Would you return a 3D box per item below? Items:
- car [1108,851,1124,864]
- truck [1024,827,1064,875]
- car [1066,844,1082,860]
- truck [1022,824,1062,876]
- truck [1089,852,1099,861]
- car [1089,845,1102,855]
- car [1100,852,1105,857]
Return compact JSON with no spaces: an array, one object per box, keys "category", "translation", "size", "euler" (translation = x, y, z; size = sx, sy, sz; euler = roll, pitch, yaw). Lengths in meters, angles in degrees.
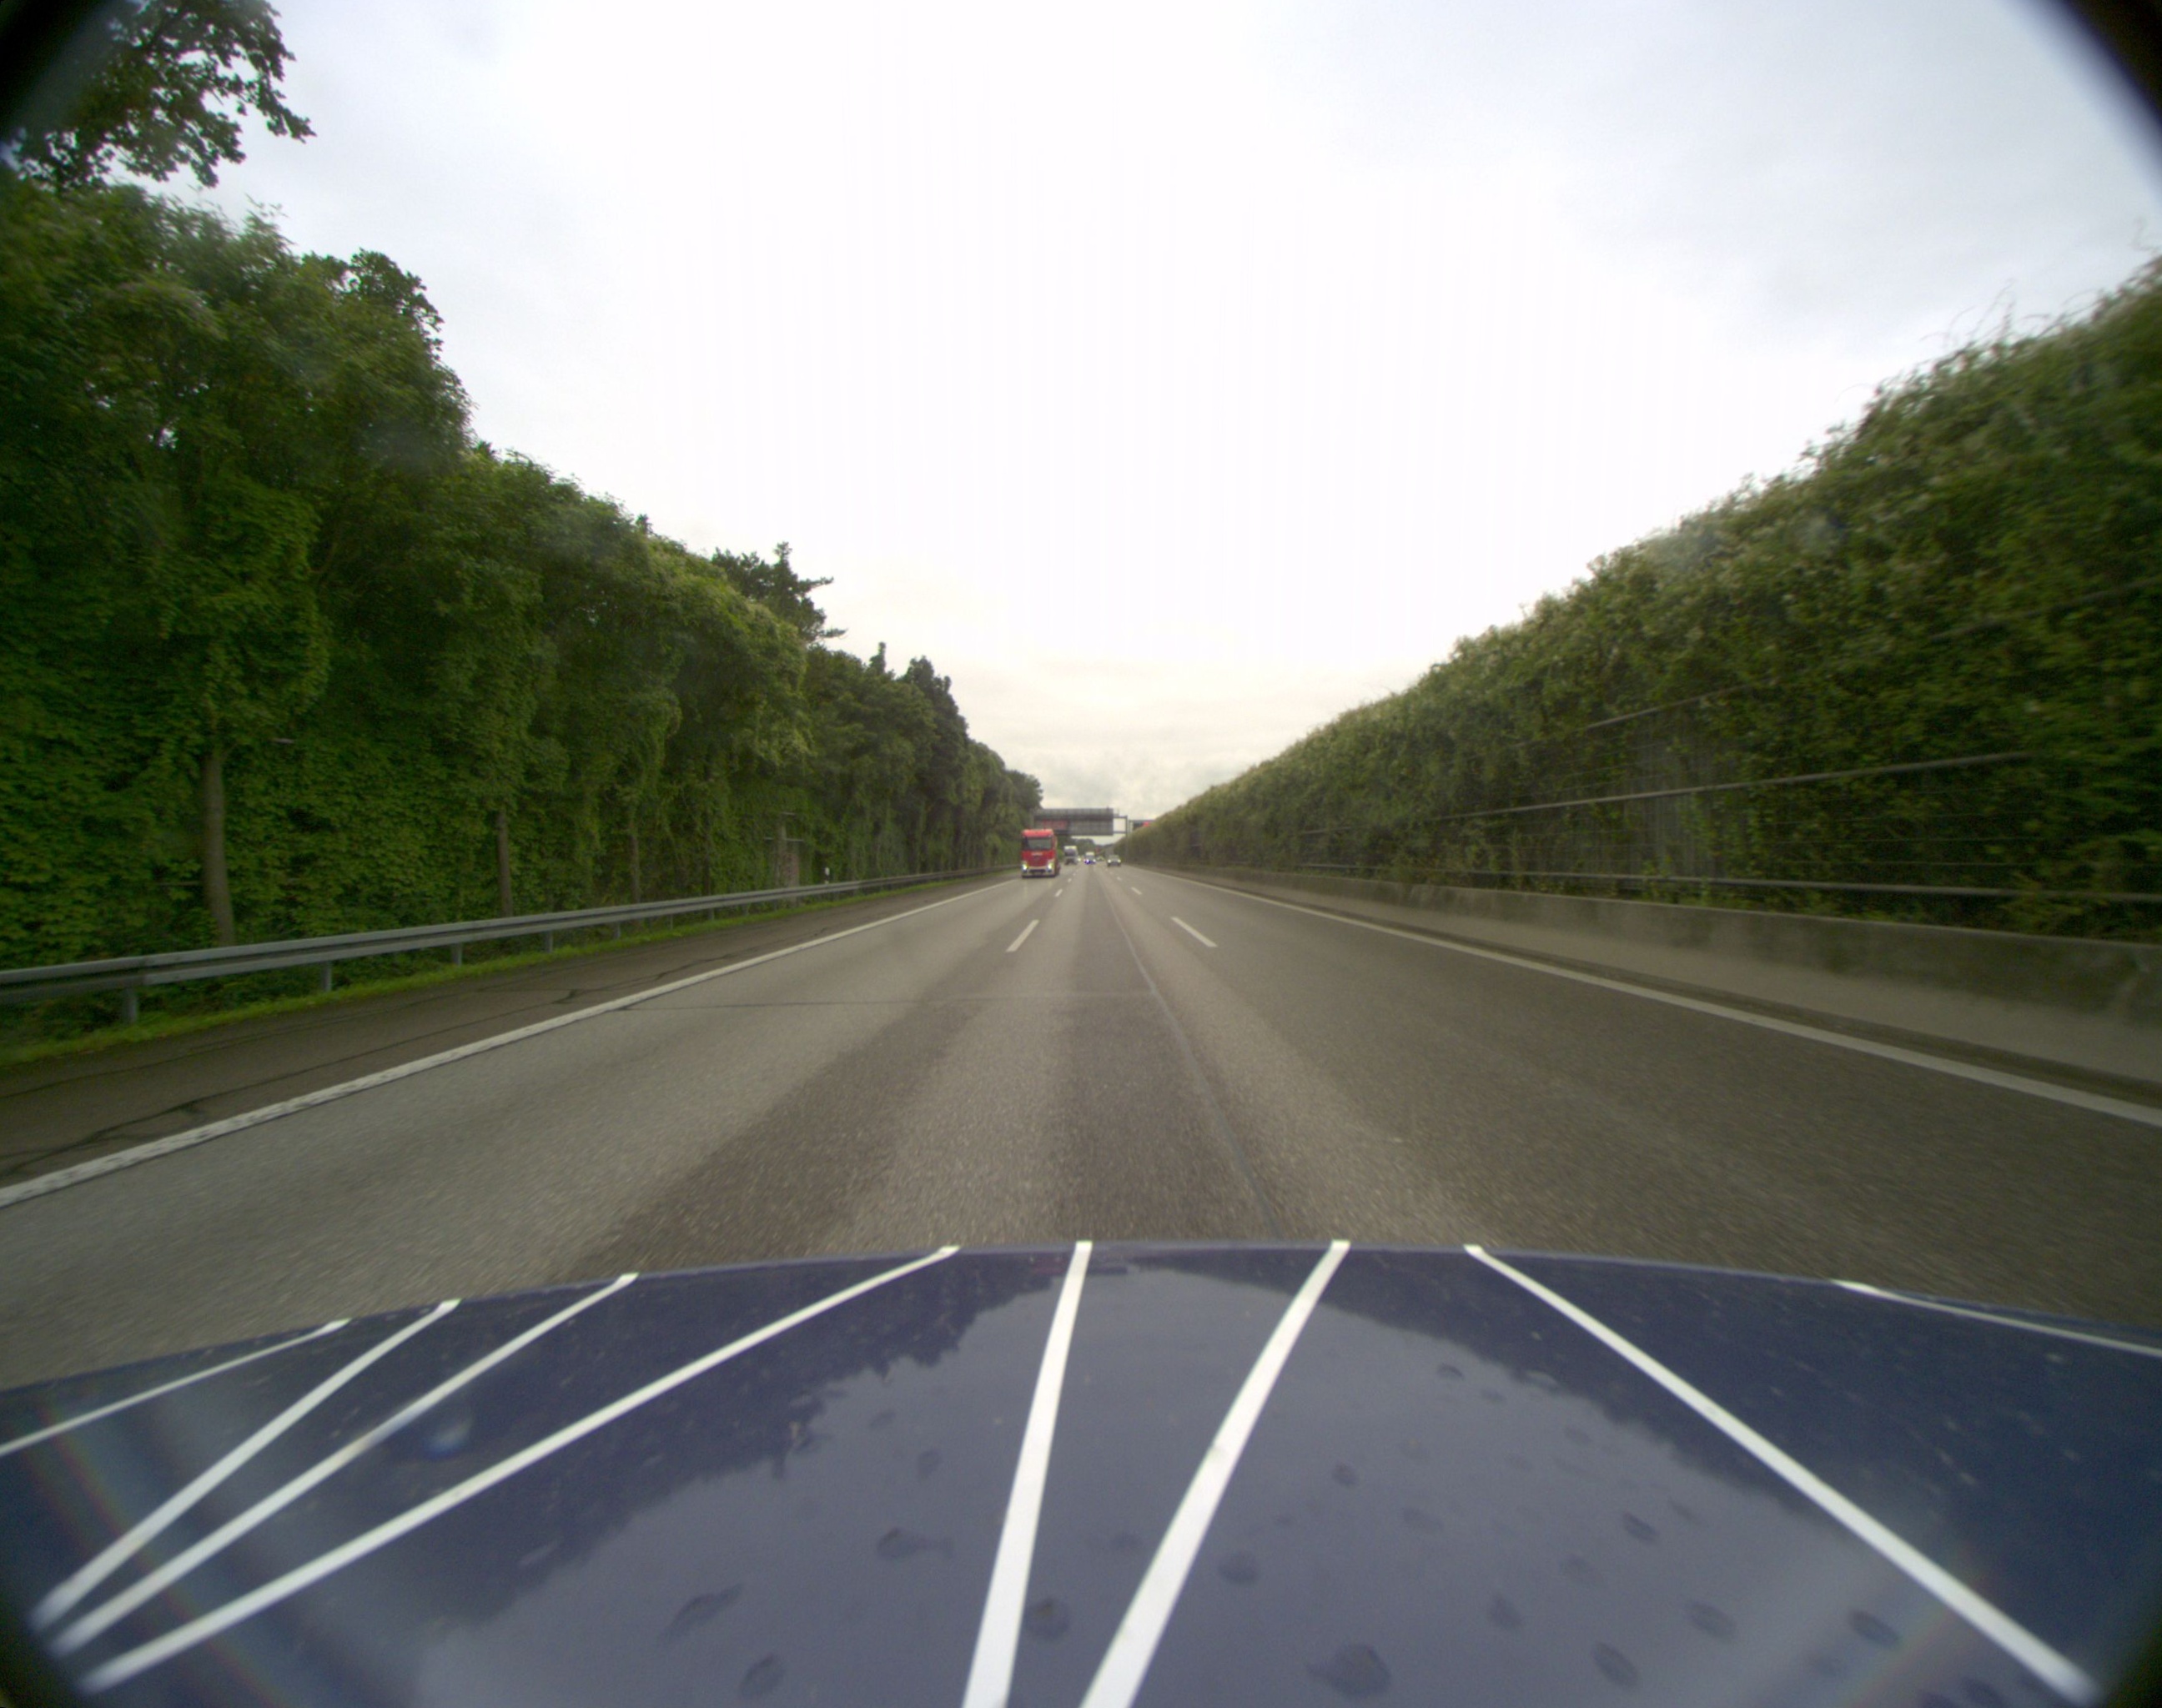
[{"category":"car","translation":[5.050,0.444,109.167],"size":[2.023,1.595,5.439],"euler":[-4,1,1]},{"category":"truck","translation":[-2.964,-0.367,63.730],"size":[2.709,3.690,9.839],"euler":[-2,2,0]},{"category":"car","translation":[-1.327,-0.442,156.334],"size":[3.039,3.278,6.733],"euler":[-2,1,1]},{"category":"truck","translation":[-2.951,-0.342,58.917],"size":[2.709,3.809,4.197],"euler":[-2,2,1]},{"category":"truck","translation":[2.590,0.560,151.332],"size":[1.825,1.535,3.999],"euler":[-3,2,1]},{"category":"car","translation":[3.314,-0.943,175.126],"size":[2.769,2.227,6.546],"euler":[-2,1,1]},{"category":"car","translation":[7.119,0.130,253.394],"size":[1.751,1.368,4.000],"euler":[-1,0,1]}]
